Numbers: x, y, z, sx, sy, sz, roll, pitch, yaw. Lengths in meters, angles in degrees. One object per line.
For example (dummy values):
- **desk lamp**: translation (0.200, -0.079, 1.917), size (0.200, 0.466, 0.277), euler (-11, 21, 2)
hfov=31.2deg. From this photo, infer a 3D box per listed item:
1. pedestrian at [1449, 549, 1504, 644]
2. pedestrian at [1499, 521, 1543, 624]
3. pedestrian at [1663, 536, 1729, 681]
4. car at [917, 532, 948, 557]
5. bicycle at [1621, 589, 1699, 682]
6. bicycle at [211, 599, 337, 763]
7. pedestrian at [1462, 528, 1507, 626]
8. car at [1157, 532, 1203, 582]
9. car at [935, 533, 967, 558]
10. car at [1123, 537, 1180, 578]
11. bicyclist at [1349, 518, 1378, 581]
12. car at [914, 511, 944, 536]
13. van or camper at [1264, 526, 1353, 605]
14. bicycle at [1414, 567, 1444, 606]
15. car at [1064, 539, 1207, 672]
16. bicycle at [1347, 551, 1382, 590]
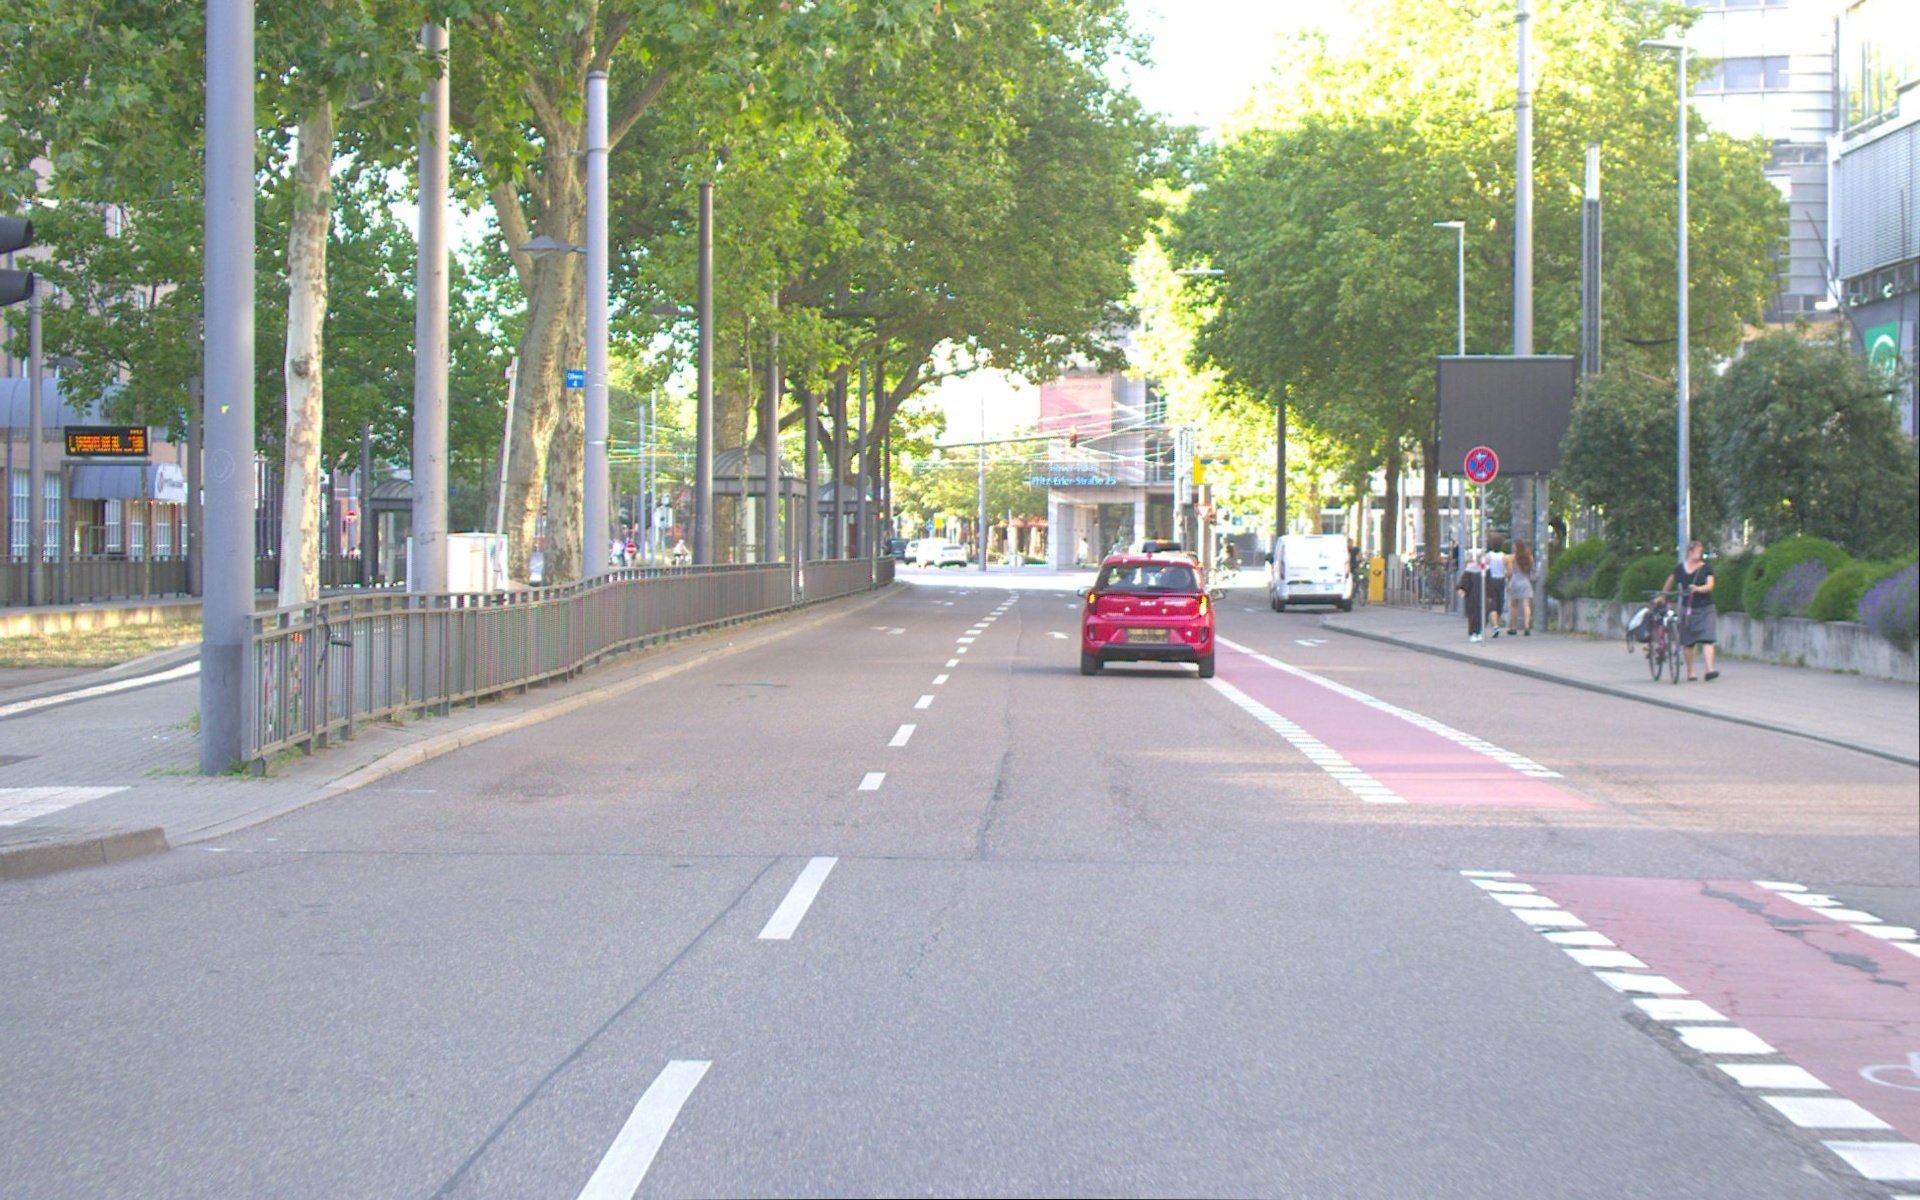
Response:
- **pedestrian**: translation (8.785, -0.055, 58.479), size (0.641, 1.574, 0.723), euler (-3, 1, -10)
- **pedestrian**: translation (9.939, -0.491, 60.916), size (0.540, 1.790, 0.907), euler (-3, 1, -1)
- **pedestrian**: translation (8.570, 0.094, 40.035), size (0.646, 1.674, 0.651), euler (0, 1, 4)
- **car**: translation (-1.770, -3.586, 222.015), size (1.777, 1.529, 3.412), euler (1, 1, -4)
- **bicycle**: translation (8.146, 0.396, 40.059), size (0.520, 0.971, 2.201), euler (-3, 1, 3)
- **bicycle**: translation (-4.411, 0.507, 22.165), size (0.395, 0.945, 1.351), euler (0, 3, 6)
- **pedestrian**: translation (9.224, -0.407, 60.442), size (0.564, 1.696, 0.907), euler (-3, 1, -1)
- **car**: translation (8.078, -1.578, 126.245), size (1.635, 1.794, 3.329), euler (0, 1, 3)
- **car**: translation (-0.573, -3.396, 215.393), size (1.777, 1.529, 3.412), euler (1, 1, -4)
- **car**: translation (7.412, -1.653, 133.500), size (1.777, 1.529, 3.513), euler (1, 1, -4)
- **bicyclist**: translation (11.098, -1.384, 94.562), size (0.649, 1.696, 0.952), euler (1, 1, 0)
- **car**: translation (-2.072, -5.058, 228.016), size (1.777, 1.583, 3.412), euler (1, 1, -4)
- **van or camper**: translation (9.093, -0.913, 90.075), size (1.993, 1.982, 4.744), euler (1, 1, 2)
- **bicycle**: translation (13.022, -0.377, 95.431), size (0.586, 1.063, 1.900), euler (-1, 1, 0)
- **car**: translation (2.118, 0.031, 42.184), size (1.613, 1.529, 3.412), euler (1, 1, 1)
- **bicycle**: translation (11.096, -0.816, 94.439), size (0.683, 1.063, 2.469), euler (-1, 1, 0)
